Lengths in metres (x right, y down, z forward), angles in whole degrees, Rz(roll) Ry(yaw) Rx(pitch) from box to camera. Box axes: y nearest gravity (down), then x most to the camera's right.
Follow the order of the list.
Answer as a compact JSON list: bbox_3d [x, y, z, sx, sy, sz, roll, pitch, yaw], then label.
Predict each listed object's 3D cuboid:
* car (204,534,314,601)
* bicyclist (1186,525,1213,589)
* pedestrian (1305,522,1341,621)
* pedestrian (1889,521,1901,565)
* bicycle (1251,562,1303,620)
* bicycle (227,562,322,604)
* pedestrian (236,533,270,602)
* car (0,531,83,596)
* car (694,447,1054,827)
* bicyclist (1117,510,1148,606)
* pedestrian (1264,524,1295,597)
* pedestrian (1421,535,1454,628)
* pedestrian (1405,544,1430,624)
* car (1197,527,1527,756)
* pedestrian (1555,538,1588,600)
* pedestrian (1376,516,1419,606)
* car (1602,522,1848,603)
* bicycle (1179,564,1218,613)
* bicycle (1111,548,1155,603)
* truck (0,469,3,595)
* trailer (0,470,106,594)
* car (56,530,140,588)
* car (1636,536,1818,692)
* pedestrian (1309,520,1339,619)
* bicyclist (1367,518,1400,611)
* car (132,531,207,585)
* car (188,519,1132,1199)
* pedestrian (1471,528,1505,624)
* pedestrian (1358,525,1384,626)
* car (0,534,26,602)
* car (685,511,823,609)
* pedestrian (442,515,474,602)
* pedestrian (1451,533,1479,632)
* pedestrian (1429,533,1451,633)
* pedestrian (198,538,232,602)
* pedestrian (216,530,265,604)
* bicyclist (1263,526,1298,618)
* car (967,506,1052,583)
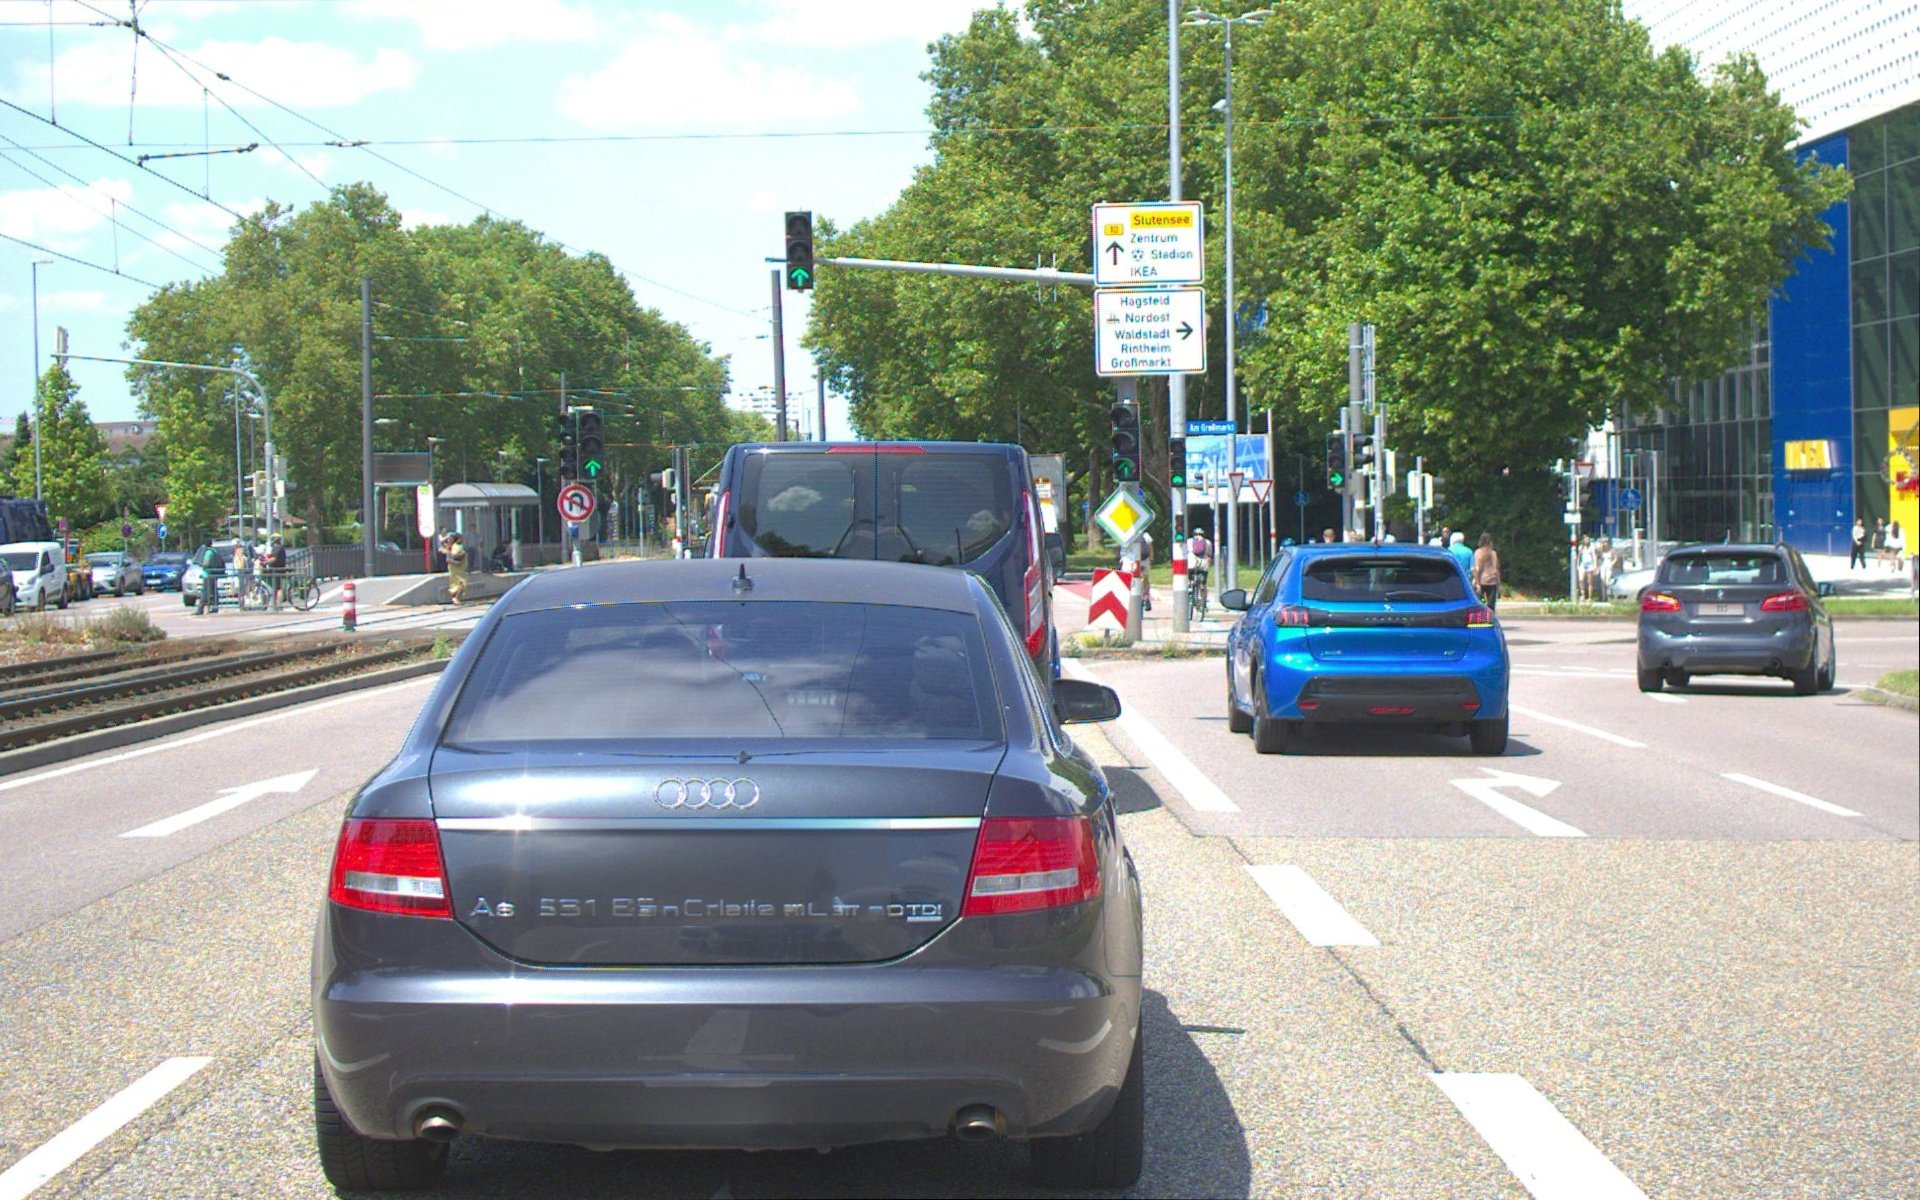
[{"bbox_3d":[-18.524,-0.880,90.997,1.822,1.664,4.461,1,1,2],"label":"car"},{"bbox_3d":[4.425,-0.796,63.601,0.470,1.189,0.791,0,1,2],"label":"bicyclist"},{"bbox_3d":[6.050,-0.478,57.309,0.554,1.629,0.433,0,1,3],"label":"pedestrian"},{"bbox_3d":[28.488,-1.740,104.766,0.288,1.338,0.266,0,1,0],"label":"pedestrian"},{"bbox_3d":[5.779,-0.177,62.861,0.688,1.002,2.752,0,1,0],"label":"bicycle"},{"bbox_3d":[-15.337,-0.375,76.963,2.055,0.922,0.753,0,1,-10],"label":"bicycle"},{"bbox_3d":[-16.220,-0.747,78.910,0.685,1.559,0.573,0,1,-4],"label":"pedestrian"},{"bbox_3d":[-25.047,-1.006,92.187,1.822,1.664,4.461,1,1,1],"label":"car"},{"bbox_3d":[-0.463,0.157,19.563,1.836,1.943,4.000,0,1,-1],"label":"car"},{"bbox_3d":[3.231,-0.783,64.337,0.528,1.783,1.088,0,1,0],"label":"bicyclist"},{"bbox_3d":[6.764,-0.838,72.735,0.494,1.514,0.706,1,1,17],"label":"pedestrian"},{"bbox_3d":[8.375,-0.328,60.300,0.504,1.629,0.449,0,1,3],"label":"pedestrian"},{"bbox_3d":[7.478,-0.267,56.222,0.372,1.299,0.365,0,1,3],"label":"pedestrian"},{"bbox_3d":[2.790,0.234,24.662,1.837,1.449,4.000,1,1,0],"label":"car"},{"bbox_3d":[15.269,-0.776,85.778,0.705,1.539,0.677,1,1,19],"label":"pedestrian"},{"bbox_3d":[9.025,-0.803,70.898,0.685,1.840,0.706,1,1,25],"label":"pedestrian"},{"bbox_3d":[15.245,-0.768,68.709,4.498,1.481,2.000,1,1,3],"label":"car"},{"bbox_3d":[4.423,-0.220,63.869,0.550,0.874,1.698,0,1,-1],"label":"bicycle"},{"bbox_3d":[3.262,-0.470,64.911,0.688,0.990,2.752,0,1,0],"label":"bicycle"},{"bbox_3d":[-28.503,-1.876,94.354,2.767,3.557,6.440,0,1,-1],"label":"truck"},{"bbox_3d":[-28.605,-2.026,102.076,2.767,3.506,15.879,0,1,-1],"label":"trailer"},{"bbox_3d":[-28.470,-1.365,113.683,1.817,1.876,4.000,0,1,-1],"label":"car"},{"bbox_3d":[8.051,0.095,36.114,1.762,1.521,4.097,0,1,13],"label":"car"},{"bbox_3d":[6.066,-0.509,57.307,0.445,1.629,0.430,0,1,3],"label":"pedestrian"},{"bbox_3d":[8.117,-0.681,65.883,0.529,1.758,0.827,0,1,13],"label":"bicyclist"},{"bbox_3d":[-28.341,-1.520,123.330,1.817,1.876,4.000,0,1,-1],"label":"car"},{"bbox_3d":[-0.590,0.545,8.646,1.792,1.450,4.000,-1,1,0],"label":"car"},{"bbox_3d":[9.260,-0.422,60.266,0.521,1.664,0.494,0,1,3],"label":"pedestrian"},{"bbox_3d":[6.701,-0.402,56.002,0.381,1.629,0.377,0,1,3],"label":"pedestrian"},{"bbox_3d":[-24.664,-0.796,85.230,1.822,1.664,4.461,1,1,0],"label":"car"},{"bbox_3d":[-3.289,-0.682,55.660,1.993,1.481,4.000,1,1,0],"label":"car"},{"bbox_3d":[-11.678,-0.964,79.956,0.685,2.007,0.573,0,1,-4],"label":"pedestrian"},{"bbox_3d":[8.279,-0.290,56.380,0.398,1.629,0.371,0,1,3],"label":"pedestrian"},{"bbox_3d":[7.872,-0.280,56.389,0.320,1.629,0.377,0,1,3],"label":"pedestrian"},{"bbox_3d":[-16.860,-0.679,77.800,0.685,1.438,0.573,0,1,-4],"label":"pedestrian"},{"bbox_3d":[-16.862,-0.775,80.611,0.824,1.714,0.774,1,1,22],"label":"pedestrian"},{"bbox_3d":[5.849,-0.510,62.817,0.528,1.670,1.088,0,1,0],"label":"bicyclist"},{"bbox_3d":[1.500,-1.722,106.281,1.993,2.301,4.776,0,1,-7],"label":"car"}]
